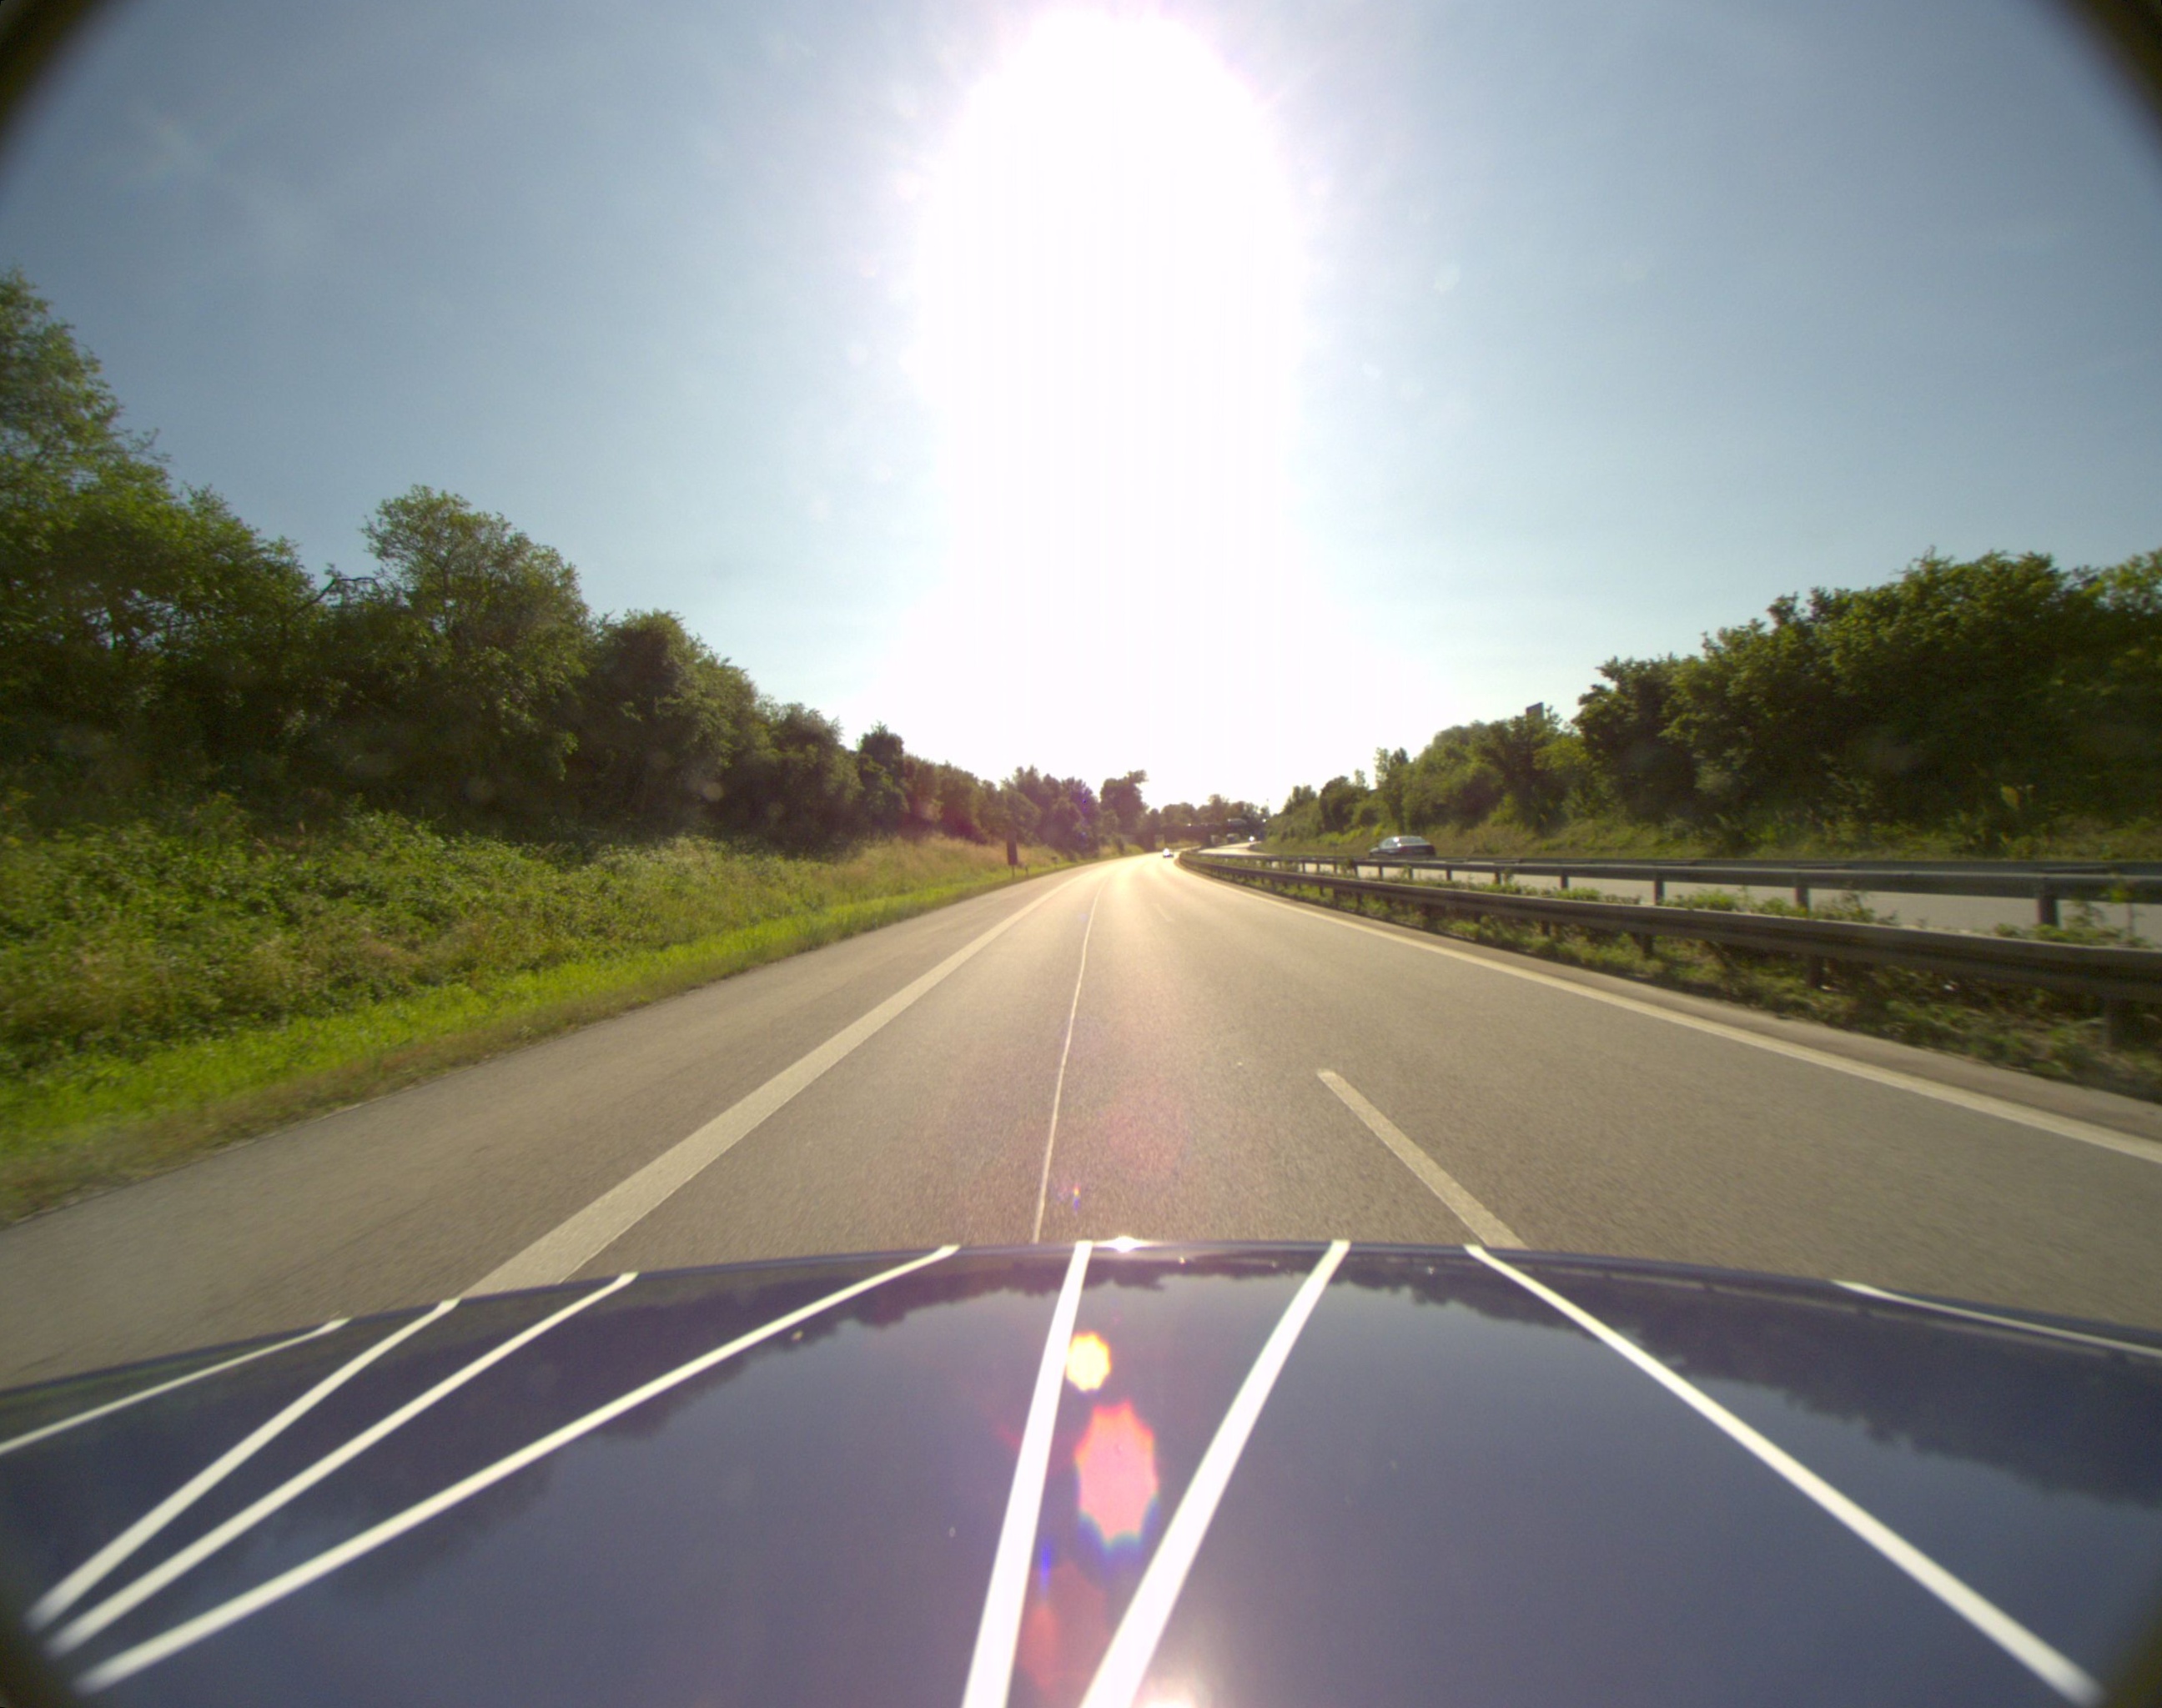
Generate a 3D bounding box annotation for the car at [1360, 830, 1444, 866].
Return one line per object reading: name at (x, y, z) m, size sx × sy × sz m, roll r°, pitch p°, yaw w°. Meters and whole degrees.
car at (15.209, -0.300, 36.385) m, size 1.972 × 1.555 × 5.173 m, roll -1°, pitch 1°, yaw 2°

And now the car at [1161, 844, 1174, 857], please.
car at (14.704, -0.571, 129.701) m, size 1.998 × 2.002 × 4.601 m, roll -4°, pitch 0°, yaw 6°

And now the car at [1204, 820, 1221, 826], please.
car at (37.136, -8.745, 214.624) m, size 4.435 × 1.547 × 1.908 m, roll -2°, pitch 2°, yaw 14°

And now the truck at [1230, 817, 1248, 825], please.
truck at (44.228, -9.240, 212.914) m, size 4.863 × 2.155 × 2.001 m, roll -2°, pitch 2°, yaw 14°
